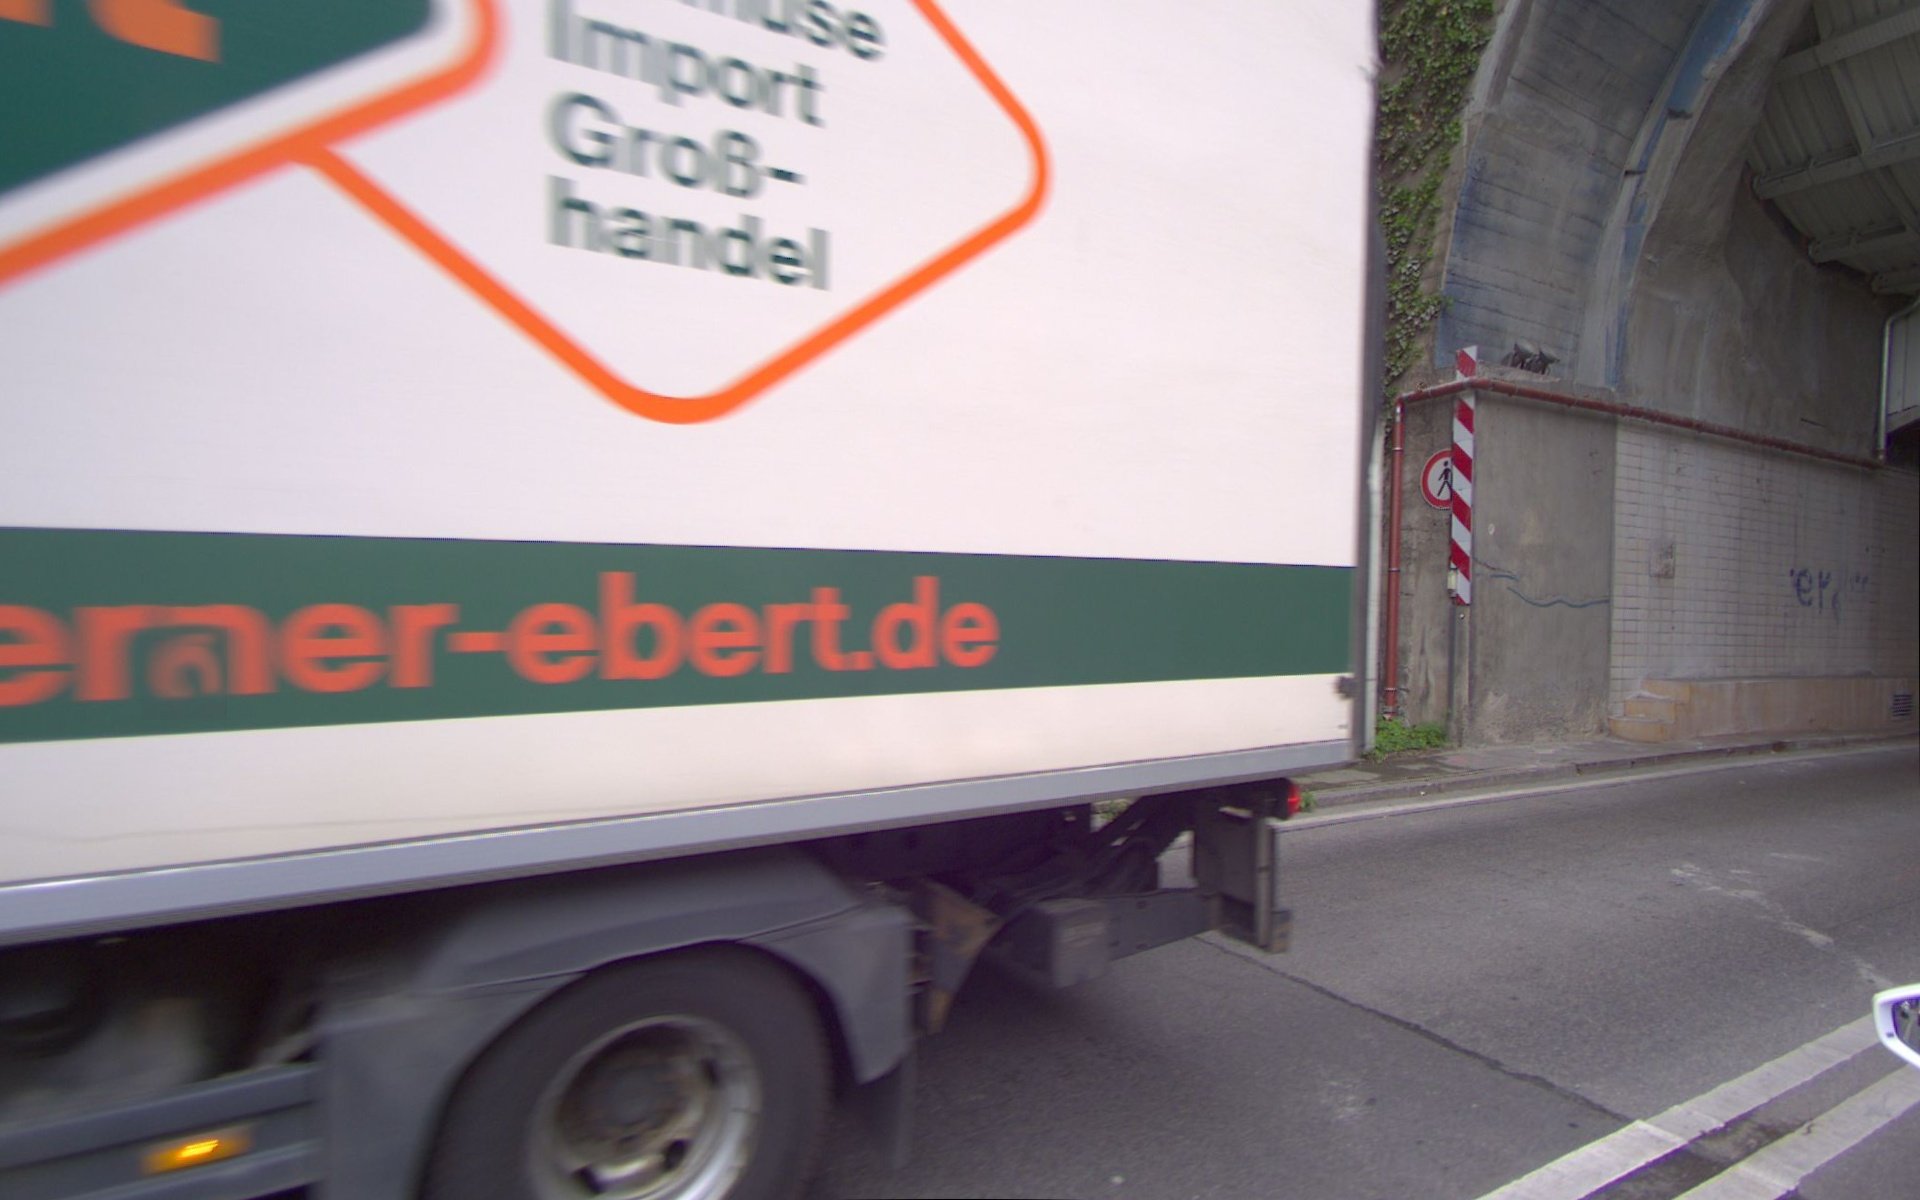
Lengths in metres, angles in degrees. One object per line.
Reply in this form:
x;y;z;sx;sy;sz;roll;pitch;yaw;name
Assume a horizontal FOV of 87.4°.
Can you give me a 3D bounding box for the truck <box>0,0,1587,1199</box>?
-1.978;-0.376;2.351;7.429;3.715;2.663;2;0;-30;truck
